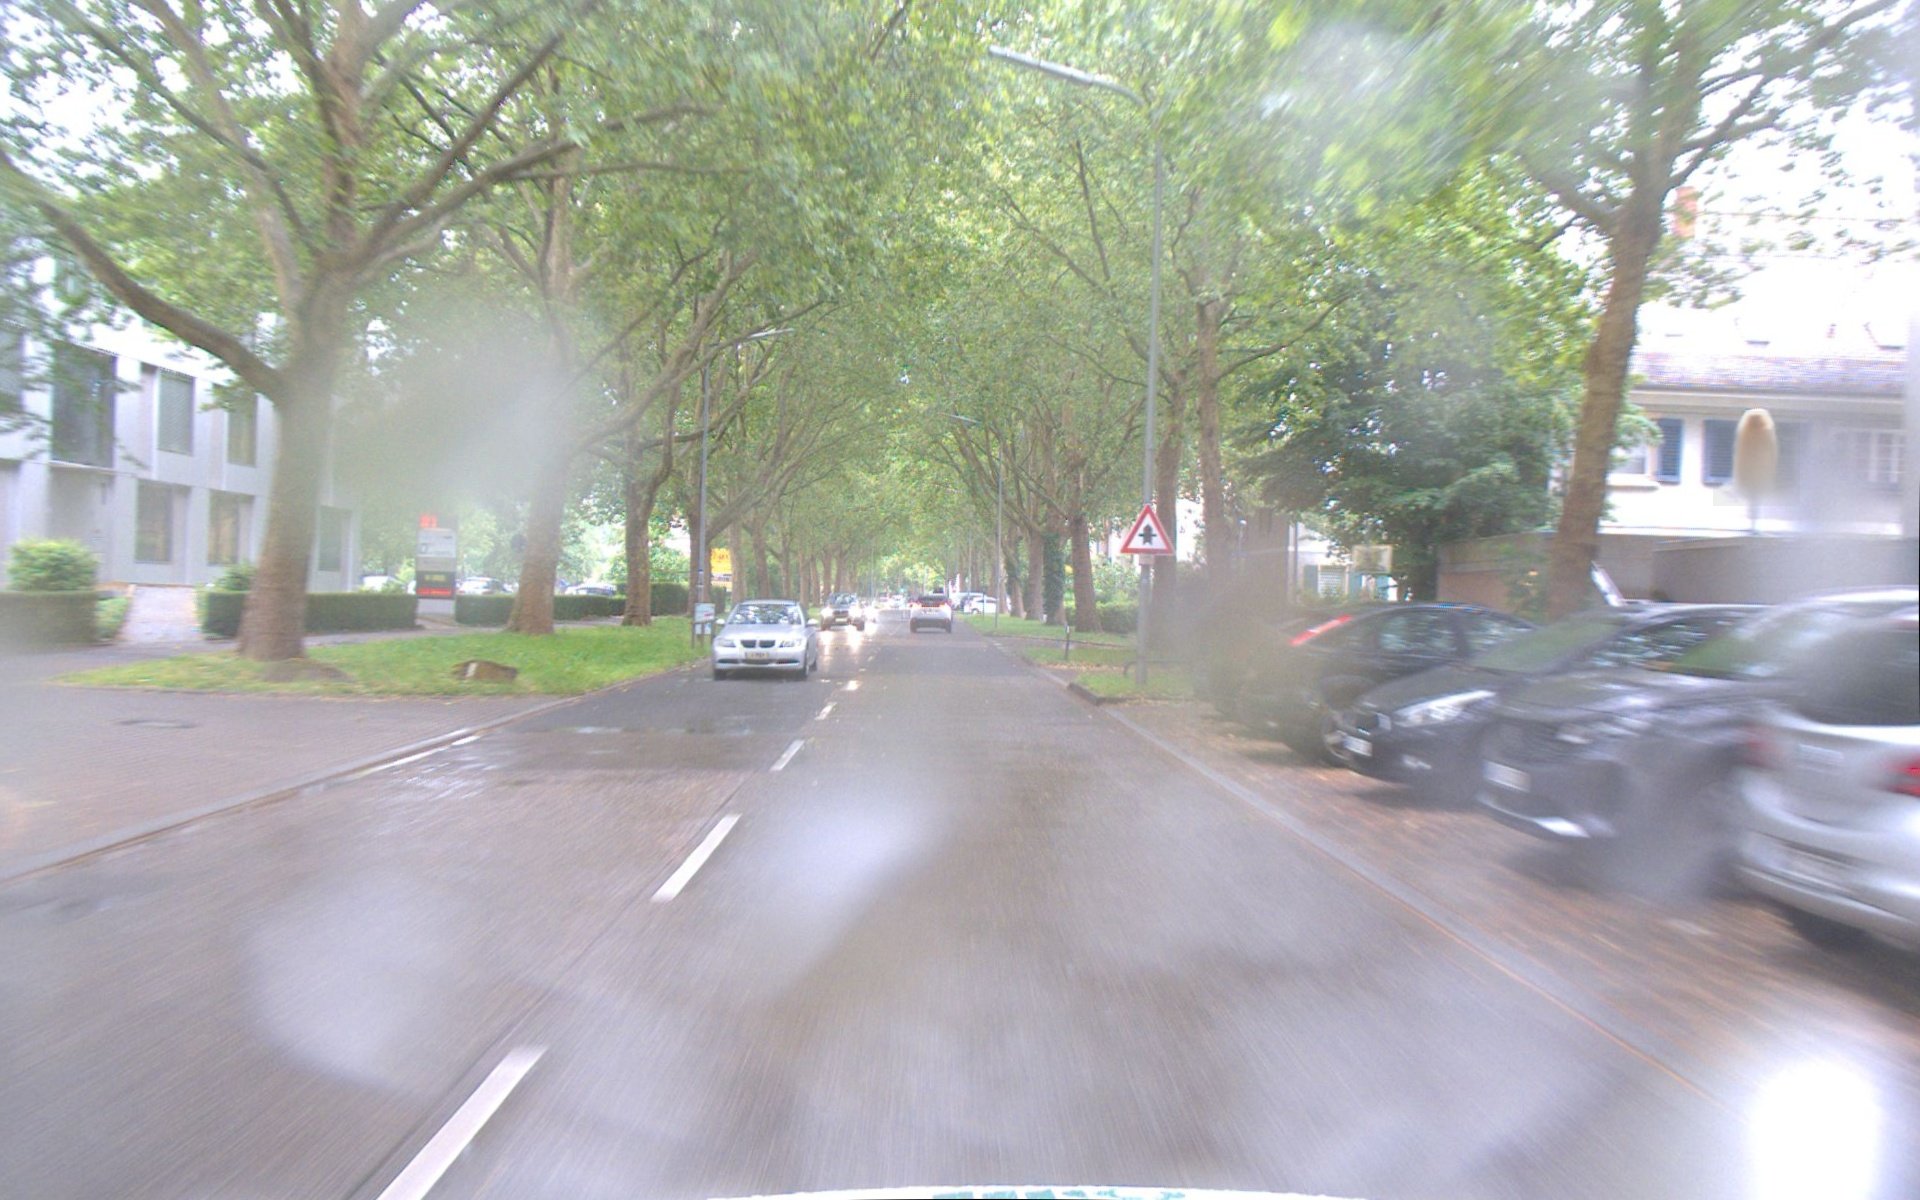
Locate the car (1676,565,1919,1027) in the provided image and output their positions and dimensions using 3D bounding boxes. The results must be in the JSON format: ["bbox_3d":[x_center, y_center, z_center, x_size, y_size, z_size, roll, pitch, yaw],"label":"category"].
[{"bbox_3d":[5.377,0.732,6.772,4.127,1.611,1.745,2,0,-4],"label":"car"}]

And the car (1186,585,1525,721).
[{"bbox_3d":[4.980,0.649,21.167,3.906,1.606,1.679,1,0,-1],"label":"car"}]

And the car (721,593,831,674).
[{"bbox_3d":[-3.479,0.596,31.937,1.644,1.413,4.549,0,1,-1],"label":"car"}]

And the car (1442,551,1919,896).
[{"bbox_3d":[5.073,0.648,9.296,4.125,1.684,1.913,2,0,-2],"label":"car"}]

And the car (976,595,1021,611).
[{"bbox_3d":[3.062,0.246,132.564,3.477,1.175,1.710,-1,1,-4],"label":"car"}]

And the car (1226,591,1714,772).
[{"bbox_3d":[4.689,0.724,15.638,4.017,1.540,1.864,1,0,-1],"label":"car"}]

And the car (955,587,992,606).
[{"bbox_3d":[1.314,-0.348,160.435,3.476,1.873,1.711,0,0,-3],"label":"car"}]

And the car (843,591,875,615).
[{"bbox_3d":[-5.735,0.166,94.609,1.671,1.272,3.644,0,1,-1],"label":"car"}]

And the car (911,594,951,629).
[{"bbox_3d":[-1.236,0.462,70.534,1.671,1.436,3.644,0,1,-1],"label":"car"}]

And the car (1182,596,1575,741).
[{"bbox_3d":[4.538,0.721,18.321,3.906,1.463,1.679,1,0,-1],"label":"car"}]

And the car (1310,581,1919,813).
[{"bbox_3d":[4.897,0.693,12.724,3.961,1.557,1.779,2,0,-4],"label":"car"}]

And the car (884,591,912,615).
[{"bbox_3d":[-3.853,0.199,102.674,1.671,1.436,3.644,0,1,-1],"label":"car"}]

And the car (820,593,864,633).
[{"bbox_3d":[-5.243,0.552,74.050,1.773,1.713,4.447,0,1,-2],"label":"car"}]

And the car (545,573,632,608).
[{"bbox_3d":[-18.536,-0.477,82.658,3.906,1.651,2.000,1,0,-1],"label":"car"}]
